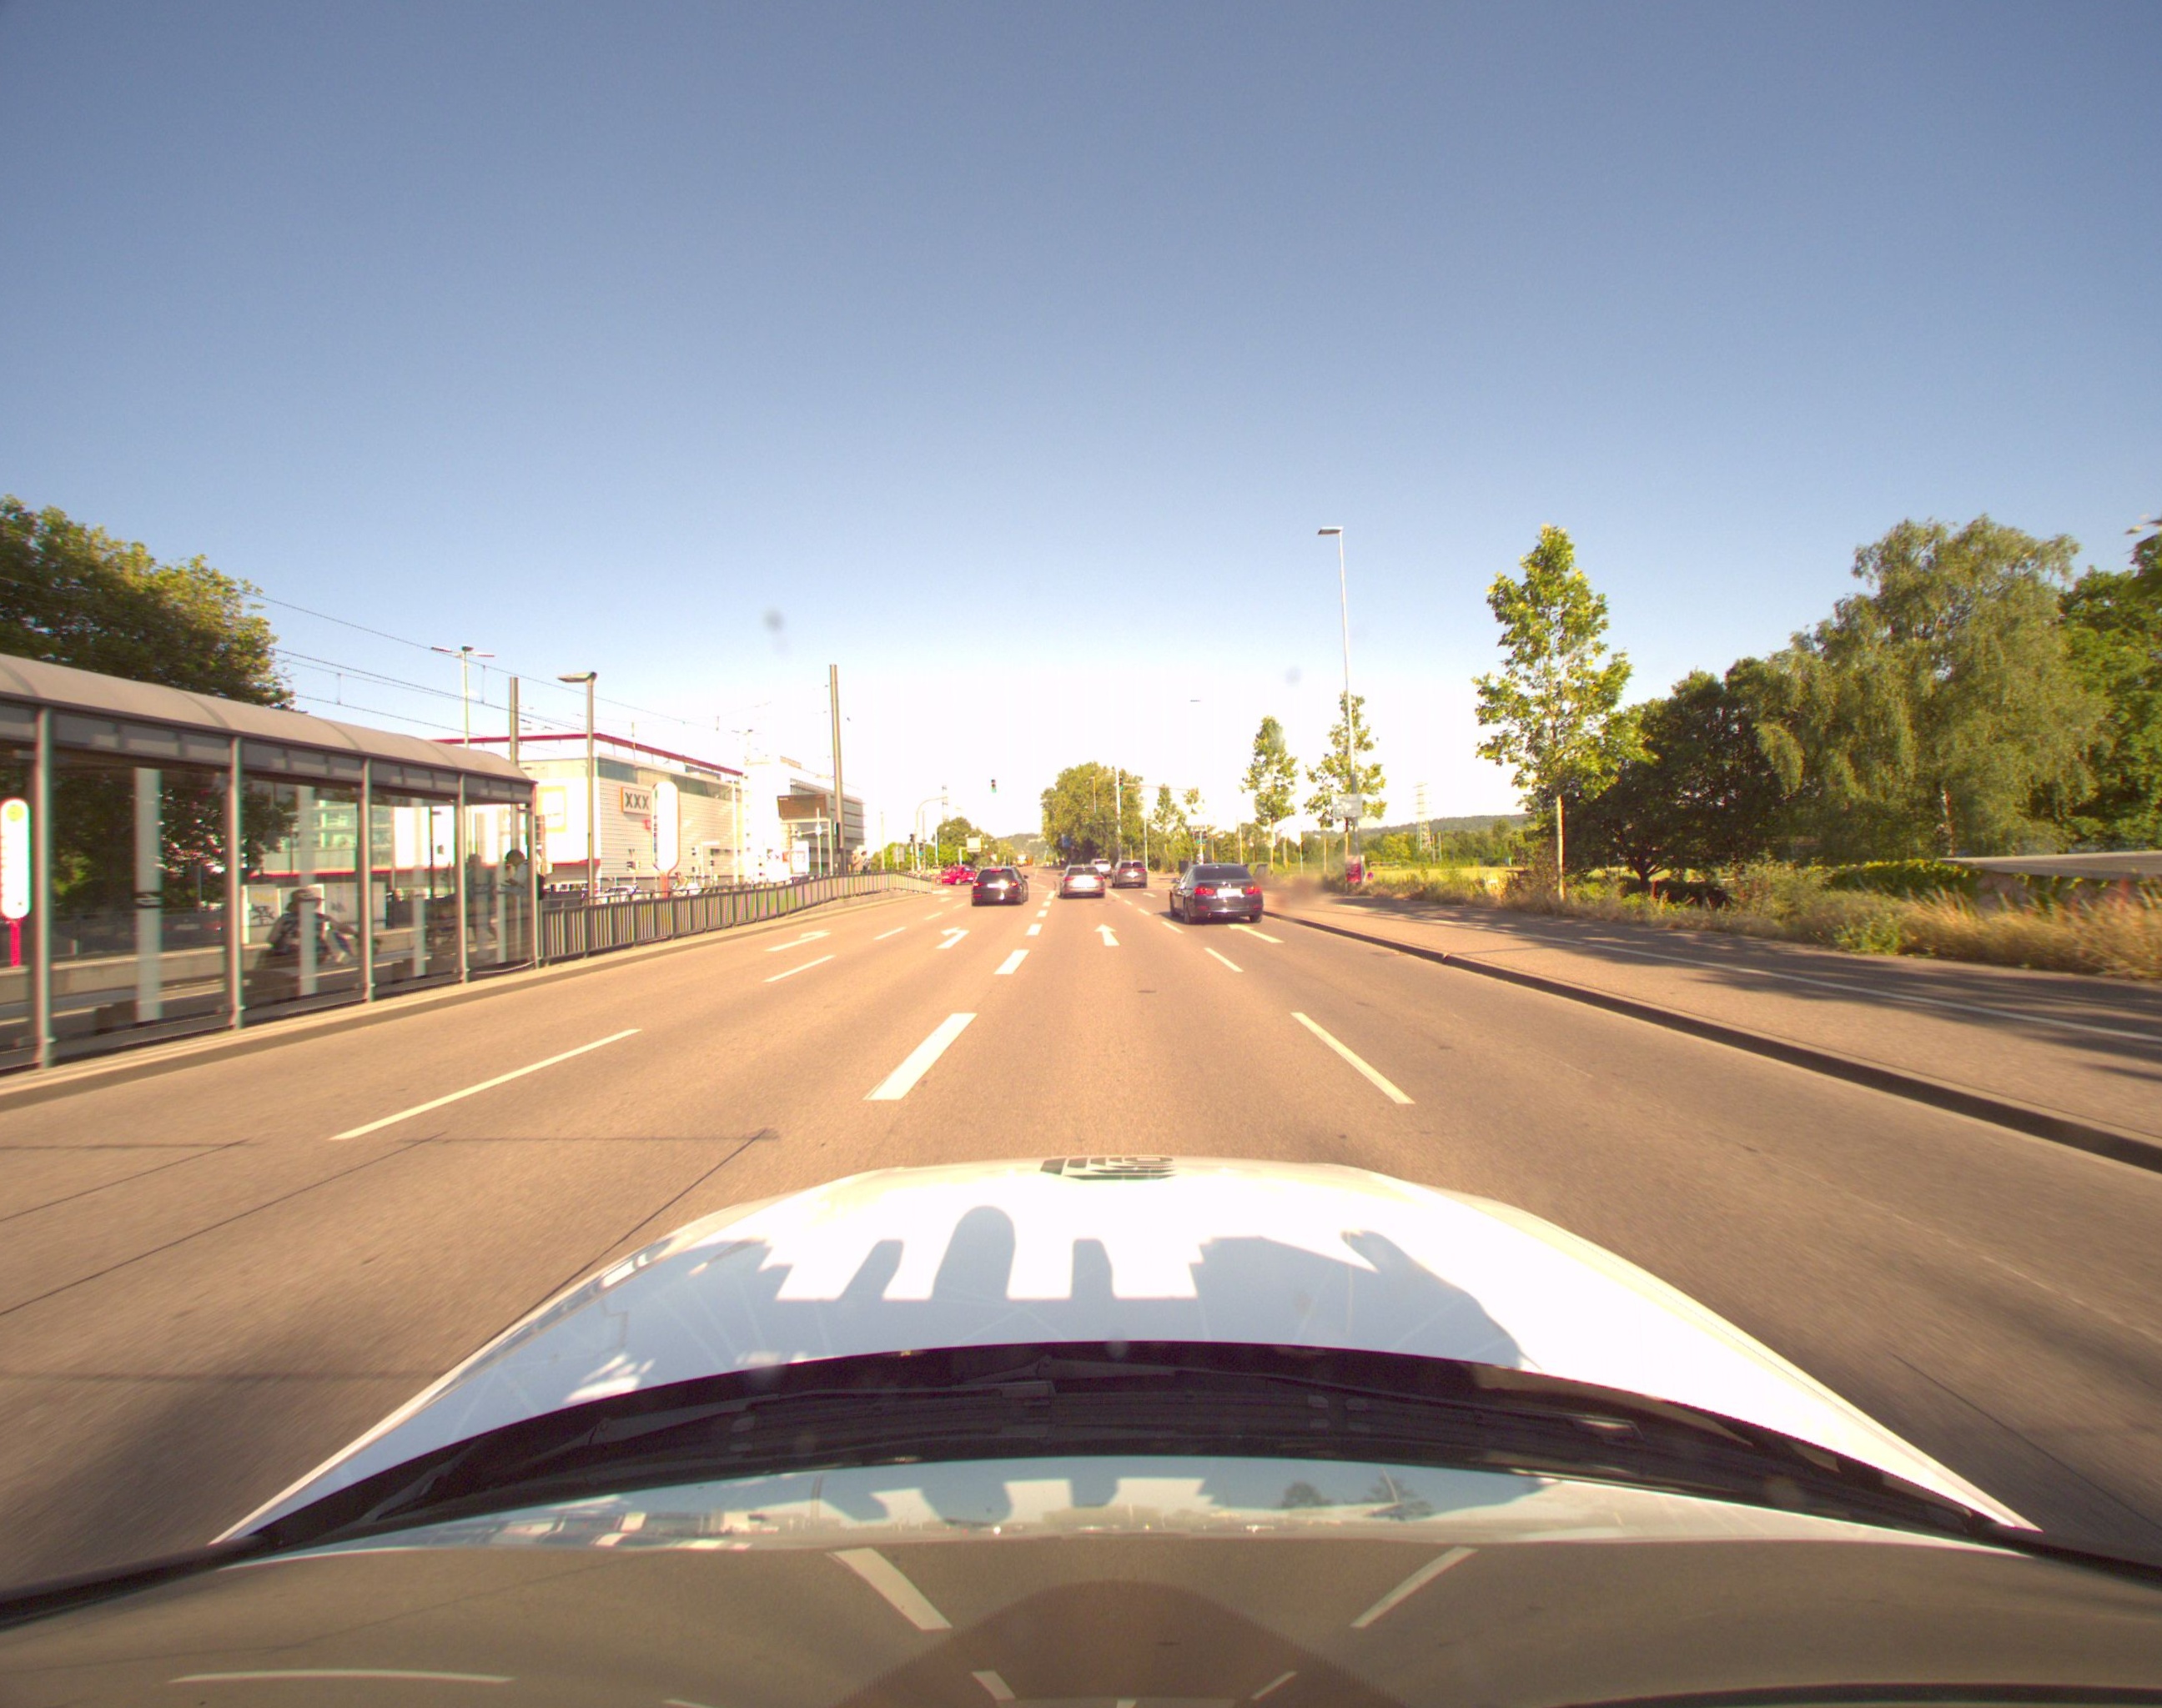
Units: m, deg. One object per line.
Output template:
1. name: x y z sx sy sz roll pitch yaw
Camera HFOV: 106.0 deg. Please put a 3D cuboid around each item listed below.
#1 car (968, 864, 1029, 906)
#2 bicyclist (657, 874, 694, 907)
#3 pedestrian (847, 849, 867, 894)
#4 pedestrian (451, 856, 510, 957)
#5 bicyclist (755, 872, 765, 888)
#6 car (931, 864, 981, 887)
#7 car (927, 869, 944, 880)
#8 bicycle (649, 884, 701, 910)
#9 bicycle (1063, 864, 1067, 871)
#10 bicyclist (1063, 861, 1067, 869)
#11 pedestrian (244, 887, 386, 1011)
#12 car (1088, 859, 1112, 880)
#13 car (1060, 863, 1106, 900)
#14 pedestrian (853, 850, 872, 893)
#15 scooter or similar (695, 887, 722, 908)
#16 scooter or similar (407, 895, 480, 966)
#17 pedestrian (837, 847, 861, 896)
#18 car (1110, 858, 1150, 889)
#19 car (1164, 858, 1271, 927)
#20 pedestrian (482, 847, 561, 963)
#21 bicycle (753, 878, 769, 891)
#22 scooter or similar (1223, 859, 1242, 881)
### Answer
1. car: -3.030 1.129 30.841 1.909 1.458 4.089 -1 -1 -1
2. bicyclist: -21.072 1.911 42.364 0.812 1.617 1.495 -5 -3 41
3. pedestrian: -8.455 0.661 30.755 0.532 1.693 0.760 0 -1 1
4. pedestrian: -9.770 0.840 13.277 0.557 1.596 0.638 -1 -1 -14
5. bicyclist: -30.511 2.462 77.410 0.585 1.522 0.752 -1 -1 3
6. car: -9.638 1.655 62.904 3.539 1.460 1.783 -6 -2 39
7. car: -21.661 3.077 121.658 1.778 1.447 4.106 -4 0 -1
8. bicycle: -21.079 2.240 42.322 0.705 1.218 2.293 -5 -3 41
9. bicycle: -3.085 2.558 153.464 0.620 1.120 1.811 -3 0 -2
10. bicyclist: -3.089 2.036 153.387 0.684 1.509 0.890 -2 0 -2
11. pedestrian: -8.182 0.985 8.737 0.678 1.232 0.878 0 0 -1
12. car: 1.606 1.306 70.105 1.879 1.796 3.996 0 0 -3
13. car: 0.038 1.136 35.693 1.860 1.467 4.663 -1 0 -1
14. pedestrian: -8.504 0.692 31.695 0.532 1.657 0.751 0 -1 1
15. scooter or similar: -19.929 2.327 43.549 0.779 1.015 1.073 -5 -3 41
16. scooter or similar: -9.702 1.148 12.419 0.570 0.987 0.813 -1 -1 -13
17. pedestrian: -8.551 0.634 30.047 0.704 1.775 0.536 0 -1 3
18. car: 2.803 1.083 47.492 1.840 1.661 4.436 -1 0 -2
19. car: 3.270 0.864 20.412 1.860 1.467 4.585 -2 0 0
20. pedestrian: -8.671 0.766 12.653 0.692 1.716 0.820 -1 -1 -6
21. bicycle: -30.491 2.895 77.642 0.585 1.168 1.993 -1 0 3
22. scooter or similar: 8.846 0.919 47.582 0.524 1.231 1.260 -2 -1 -15
